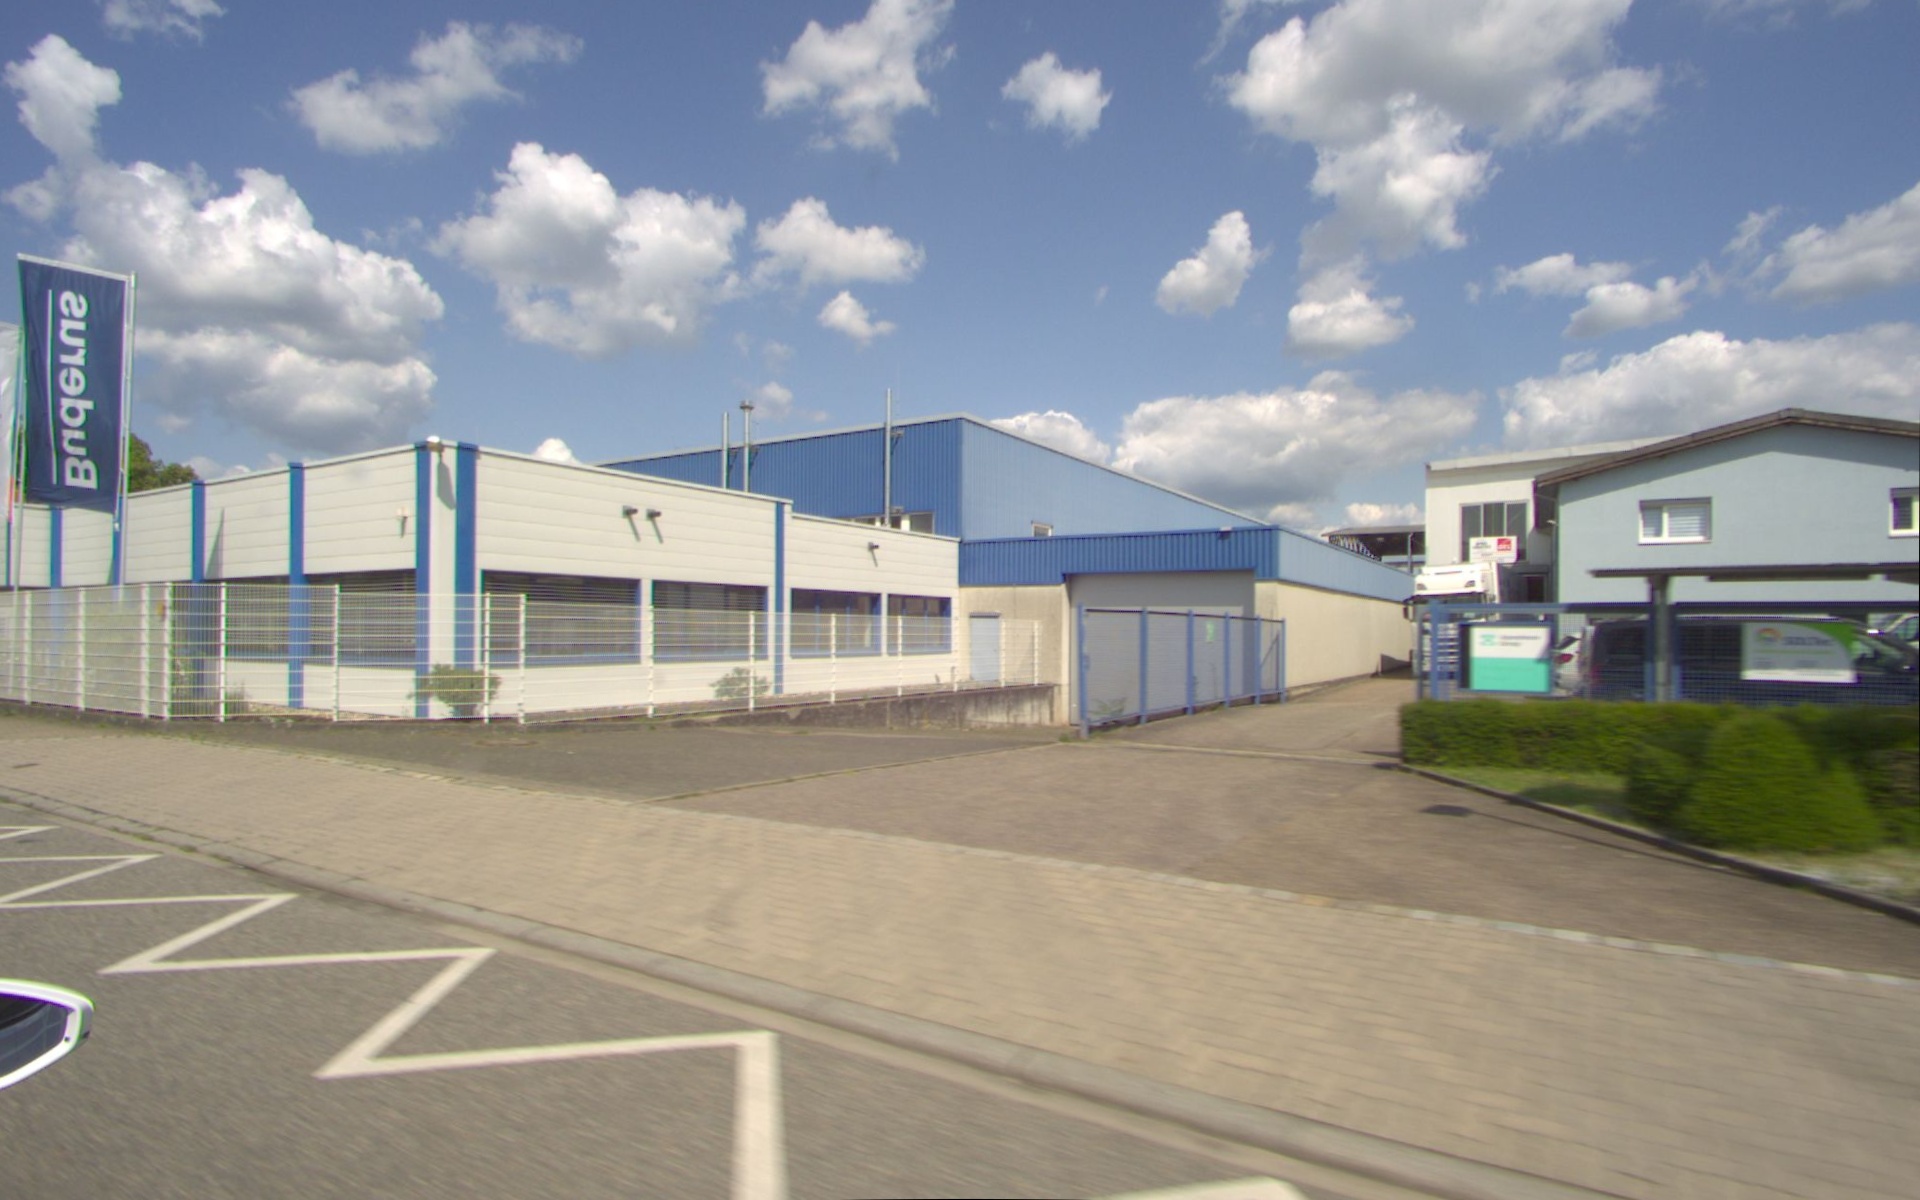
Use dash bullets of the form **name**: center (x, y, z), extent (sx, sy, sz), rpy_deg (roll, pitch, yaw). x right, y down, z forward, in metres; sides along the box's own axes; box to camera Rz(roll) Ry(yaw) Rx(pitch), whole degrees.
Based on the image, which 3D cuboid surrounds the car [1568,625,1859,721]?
- **car**: center (15.518, 1.455, 21.015), extent (4.641, 1.827, 1.992), rpy_deg (-1, -3, 31)

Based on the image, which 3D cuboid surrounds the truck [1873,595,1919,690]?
- **truck**: center (25.936, 1.084, 25.287), extent (3.944, 2.393, 1.990), rpy_deg (-1, -3, 33)

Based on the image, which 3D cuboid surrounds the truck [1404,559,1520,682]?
- **truck**: center (19.143, 0.740, 37.790), extent (2.593, 4.051, 9.606), rpy_deg (-1, -1, 35)

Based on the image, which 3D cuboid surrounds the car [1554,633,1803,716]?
- **car**: center (16.676, 1.693, 23.604), extent (4.565, 1.759, 1.992), rpy_deg (-1, -3, 31)

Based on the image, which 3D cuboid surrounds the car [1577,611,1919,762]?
- **car**: center (11.231, 1.156, 14.284), extent (4.080, 1.893, 1.992), rpy_deg (-1, -3, 31)
